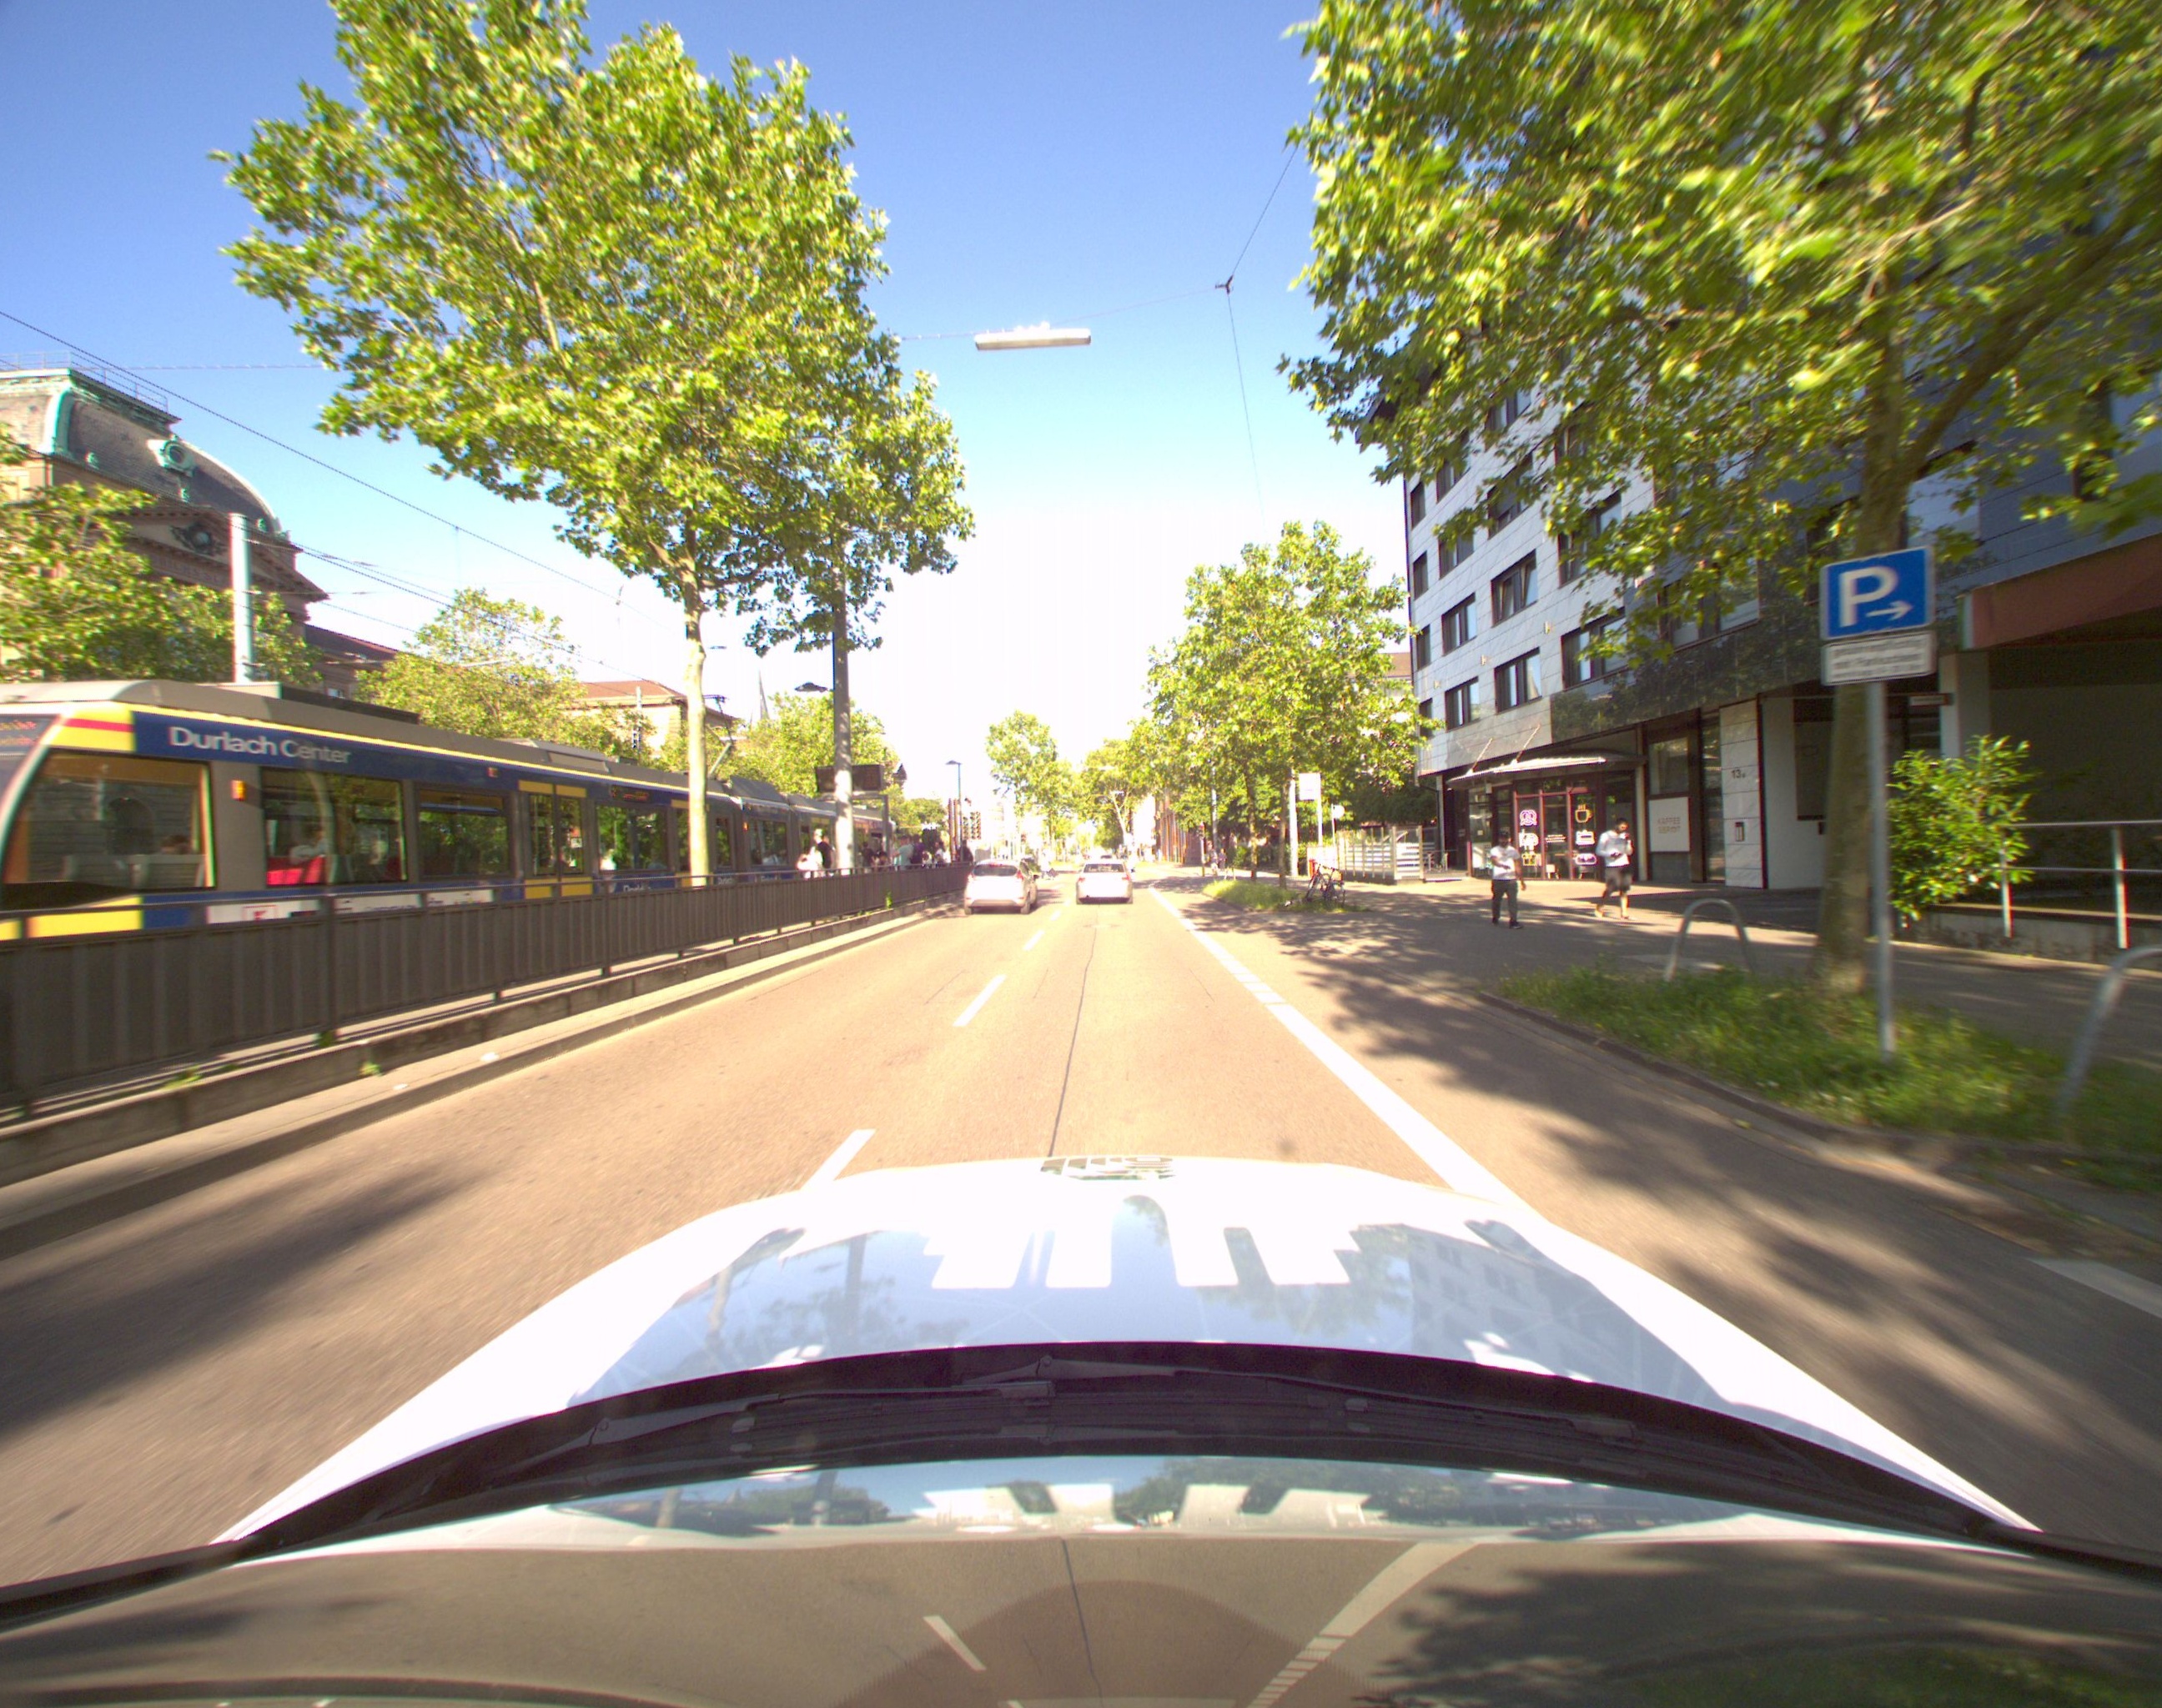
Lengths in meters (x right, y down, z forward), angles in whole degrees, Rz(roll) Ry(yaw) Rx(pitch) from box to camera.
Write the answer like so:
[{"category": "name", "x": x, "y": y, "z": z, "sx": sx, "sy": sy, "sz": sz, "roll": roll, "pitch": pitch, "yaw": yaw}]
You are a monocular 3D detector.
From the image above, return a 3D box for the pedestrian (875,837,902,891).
[{"category": "pedestrian", "x": -6.328, "y": 0.325, "z": 26.801, "sx": 0.631, "sy": 1.702, "sz": 0.746, "roll": -3, "pitch": 0, "yaw": -2}]

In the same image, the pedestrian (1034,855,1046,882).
[{"category": "pedestrian", "x": -2.435, "y": 0.880, "z": 48.810, "sx": 0.637, "sy": 1.619, "sz": 0.641, "roll": -2, "pitch": -3, "yaw": -2}]

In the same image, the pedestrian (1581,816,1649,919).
[{"category": "pedestrian", "x": 9.457, "y": 0.224, "z": 14.454, "sx": 0.558, "sy": 1.744, "sz": 0.879, "roll": -3, "pitch": 0, "yaw": 1}]

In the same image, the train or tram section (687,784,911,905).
[{"category": "train or tram section", "x": -9.051, "y": -0.171, "z": 28.683, "sx": 2.903, "sy": 3.260, "sz": 13.118, "roll": -1, "pitch": -1, "yaw": 2}]

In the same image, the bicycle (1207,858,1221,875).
[{"category": "bicycle", "x": 8.548, "y": 0.787, "z": 52.320, "sx": 0.826, "sy": 1.041, "sz": 1.880, "roll": -3, "pitch": 0, "yaw": 11}]

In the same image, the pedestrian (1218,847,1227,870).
[{"category": "pedestrian", "x": 10.191, "y": 0.353, "z": 58.667, "sx": 0.622, "sy": 1.629, "sz": 0.946, "roll": -2, "pitch": 0, "yaw": 11}]

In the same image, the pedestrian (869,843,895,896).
[{"category": "pedestrian", "x": -5.929, "y": 0.459, "z": 24.275, "sx": 0.543, "sy": 1.519, "sz": 0.531, "roll": -3, "pitch": 0, "yaw": 1}]

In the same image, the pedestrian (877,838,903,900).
[{"category": "pedestrian", "x": -5.376, "y": 0.423, "z": 22.949, "sx": 0.513, "sy": 1.708, "sz": 0.621, "roll": -3, "pitch": 0, "yaw": 1}]

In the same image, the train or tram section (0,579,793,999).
[{"category": "train or tram section", "x": -9.553, "y": -0.376, "z": 14.181, "sx": 2.903, "sy": 3.260, "sz": 15.899, "roll": -1, "pitch": -1, "yaw": 2}]

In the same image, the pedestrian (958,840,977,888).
[{"category": "pedestrian", "x": -4.229, "y": 0.371, "z": 30.272, "sx": 0.539, "sy": 1.734, "sz": 0.546, "roll": -3, "pitch": 0, "yaw": -18}]

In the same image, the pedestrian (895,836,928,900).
[{"category": "pedestrian", "x": -4.629, "y": 0.376, "z": 22.259, "sx": 0.658, "sy": 1.696, "sz": 0.571, "roll": -3, "pitch": 0, "yaw": 3}]

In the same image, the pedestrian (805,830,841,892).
[{"category": "pedestrian", "x": -5.612, "y": 0.151, "z": 17.759, "sx": 0.532, "sy": 1.299, "sz": 0.604, "roll": -3, "pitch": 0, "yaw": -2}]

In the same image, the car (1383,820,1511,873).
[{"category": "car", "x": 16.760, "y": -0.343, "z": 37.449, "sx": 4.879, "sy": 1.984, "sz": 1.914, "roll": -5, "pitch": 0, "yaw": 2}]

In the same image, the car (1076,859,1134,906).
[{"category": "car", "x": 0.764, "y": 0.875, "z": 26.586, "sx": 1.724, "sy": 1.390, "sz": 3.840, "roll": -1, "pitch": 0, "yaw": 1}]

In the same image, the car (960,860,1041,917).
[{"category": "car", "x": -2.118, "y": 0.882, "z": 22.378, "sx": 1.654, "sy": 1.409, "sz": 3.635, "roll": -1, "pitch": 0, "yaw": 3}]

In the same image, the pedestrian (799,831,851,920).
[{"category": "pedestrian", "x": -5.257, "y": 0.423, "z": 16.766, "sx": 0.773, "sy": 1.752, "sz": 0.723, "roll": -3, "pitch": 0, "yaw": -2}]

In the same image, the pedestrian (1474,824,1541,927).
[{"category": "pedestrian", "x": 7.420, "y": 0.367, "z": 14.214, "sx": 0.558, "sy": 1.704, "sz": 1.052, "roll": -3, "pitch": 0, "yaw": 1}]

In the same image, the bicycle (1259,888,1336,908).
[{"category": "bicycle", "x": 5.402, "y": 1.108, "z": 20.479, "sx": 1.602, "sy": 0.353, "sz": 1.389, "roll": -3, "pitch": 0, "yaw": 2}]

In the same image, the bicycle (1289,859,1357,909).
[{"category": "bicycle", "x": 5.877, "y": 0.699, "z": 19.874, "sx": 0.788, "sy": 1.133, "sz": 1.839, "roll": -3, "pitch": 0, "yaw": -11}]

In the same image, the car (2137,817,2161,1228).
[{"category": "car", "x": 4.738, "y": 0.609, "z": 1.076, "sx": 1.558, "sy": 1.550, "sz": 4.002, "roll": -2, "pitch": 0, "yaw": 2}]

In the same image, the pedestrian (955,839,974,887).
[{"category": "pedestrian", "x": -4.304, "y": 0.332, "z": 30.129, "sx": 0.546, "sy": 1.734, "sz": 0.539, "roll": -3, "pitch": 0, "yaw": -2}]

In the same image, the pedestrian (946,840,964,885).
[{"category": "pedestrian", "x": -5.025, "y": 0.342, "z": 32.474, "sx": 0.546, "sy": 1.734, "sz": 0.539, "roll": -3, "pitch": 0, "yaw": -2}]

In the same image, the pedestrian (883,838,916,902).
[{"category": "pedestrian", "x": -4.762, "y": 0.410, "z": 21.400, "sx": 0.658, "sy": 1.634, "sz": 0.571, "roll": -3, "pitch": 0, "yaw": 3}]

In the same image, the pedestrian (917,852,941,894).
[{"category": "pedestrian", "x": -4.507, "y": 0.560, "z": 24.153, "sx": 0.543, "sy": 1.192, "sz": 0.531, "roll": -3, "pitch": 0, "yaw": 1}]

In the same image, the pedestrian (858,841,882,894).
[{"category": "pedestrian", "x": -6.990, "y": 0.433, "z": 27.010, "sx": 0.607, "sy": 1.702, "sz": 0.545, "roll": -3, "pitch": 0, "yaw": -2}]

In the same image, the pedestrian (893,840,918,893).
[{"category": "pedestrian", "x": -5.682, "y": 0.395, "z": 26.360, "sx": 0.617, "sy": 1.649, "sz": 0.622, "roll": -3, "pitch": 0, "yaw": -2}]

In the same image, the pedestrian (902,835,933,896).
[{"category": "pedestrian", "x": -4.683, "y": 0.334, "z": 23.318, "sx": 0.658, "sy": 1.696, "sz": 0.571, "roll": -3, "pitch": 0, "yaw": 3}]

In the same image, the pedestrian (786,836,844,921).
[{"category": "pedestrian", "x": -4.969, "y": 0.453, "z": 15.259, "sx": 0.773, "sy": 1.509, "sz": 0.751, "roll": -3, "pitch": 0, "yaw": -2}]

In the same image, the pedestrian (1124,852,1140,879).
[{"category": "pedestrian", "x": 3.106, "y": 0.693, "z": 49.254, "sx": 0.824, "sy": 1.575, "sz": 0.741, "roll": -2, "pitch": -1, "yaw": 9}]

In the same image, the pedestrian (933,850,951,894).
[{"category": "pedestrian", "x": -4.335, "y": 0.554, "z": 25.417, "sx": 0.414, "sy": 1.316, "sz": 0.507, "roll": -3, "pitch": 0, "yaw": 0}]

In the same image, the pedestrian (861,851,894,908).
[{"category": "pedestrian", "x": -4.663, "y": 0.576, "z": 18.655, "sx": 0.532, "sy": 1.246, "sz": 0.604, "roll": -3, "pitch": 0, "yaw": 0}]

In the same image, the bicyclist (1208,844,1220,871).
[{"category": "bicyclist", "x": 8.550, "y": 0.211, "z": 52.522, "sx": 0.654, "sy": 1.657, "sz": 0.767, "roll": -3, "pitch": 0, "yaw": 10}]

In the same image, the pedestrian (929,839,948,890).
[{"category": "pedestrian", "x": -4.883, "y": 0.354, "z": 27.902, "sx": 0.504, "sy": 1.702, "sz": 0.611, "roll": -3, "pitch": 0, "yaw": -2}]
